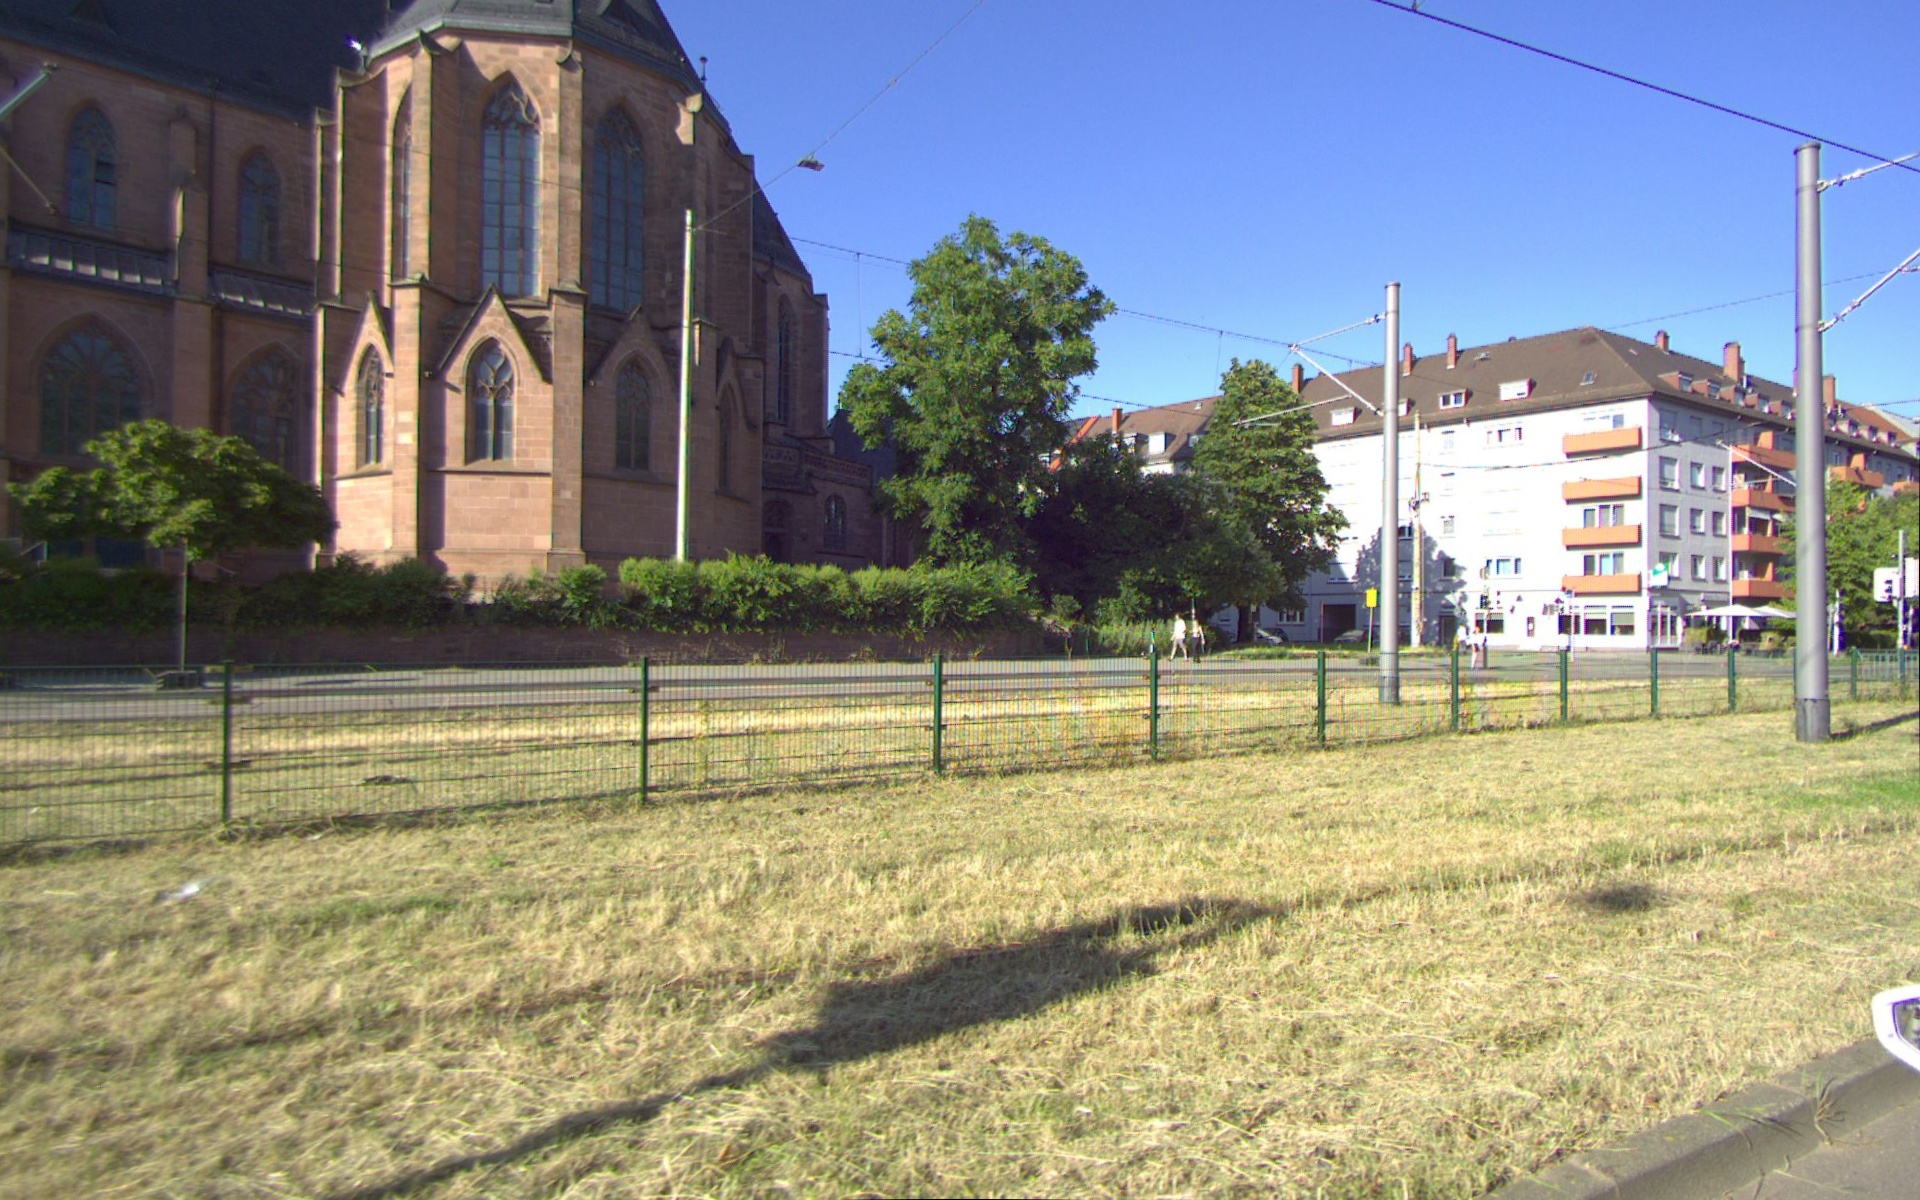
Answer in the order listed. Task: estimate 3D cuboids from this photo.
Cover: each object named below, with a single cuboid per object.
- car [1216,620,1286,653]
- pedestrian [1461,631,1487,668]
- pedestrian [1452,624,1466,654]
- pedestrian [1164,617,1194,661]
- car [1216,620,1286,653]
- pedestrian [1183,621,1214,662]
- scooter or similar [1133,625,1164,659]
[{"bbox_3d":[19.222,2.427,66.362,1.984,2.040,3.953,-2,-1,-41],"label":"car"},{"bbox_3d":[21.216,2.024,41.460,0.583,1.487,0.686,-2,-1,-27],"label":"pedestrian"},{"bbox_3d":[25.688,1.986,51.703,0.580,1.487,0.914,-3,-1,30],"label":"pedestrian"},{"bbox_3d":[8.347,1.478,38.267,0.887,1.619,0.641,-2,-1,-30],"label":"pedestrian"},{"bbox_3d":[19.185,2.426,66.352,1.984,2.040,3.953,-2,-1,-41],"label":"car"},{"bbox_3d":[8.982,1.542,37.838,0.905,1.487,0.586,-2,-1,-31],"label":"pedestrian"},{"bbox_3d":[7.451,1.642,39.655,1.216,1.278,0.399,-2,-1,-31],"label":"scooter or similar"}]
